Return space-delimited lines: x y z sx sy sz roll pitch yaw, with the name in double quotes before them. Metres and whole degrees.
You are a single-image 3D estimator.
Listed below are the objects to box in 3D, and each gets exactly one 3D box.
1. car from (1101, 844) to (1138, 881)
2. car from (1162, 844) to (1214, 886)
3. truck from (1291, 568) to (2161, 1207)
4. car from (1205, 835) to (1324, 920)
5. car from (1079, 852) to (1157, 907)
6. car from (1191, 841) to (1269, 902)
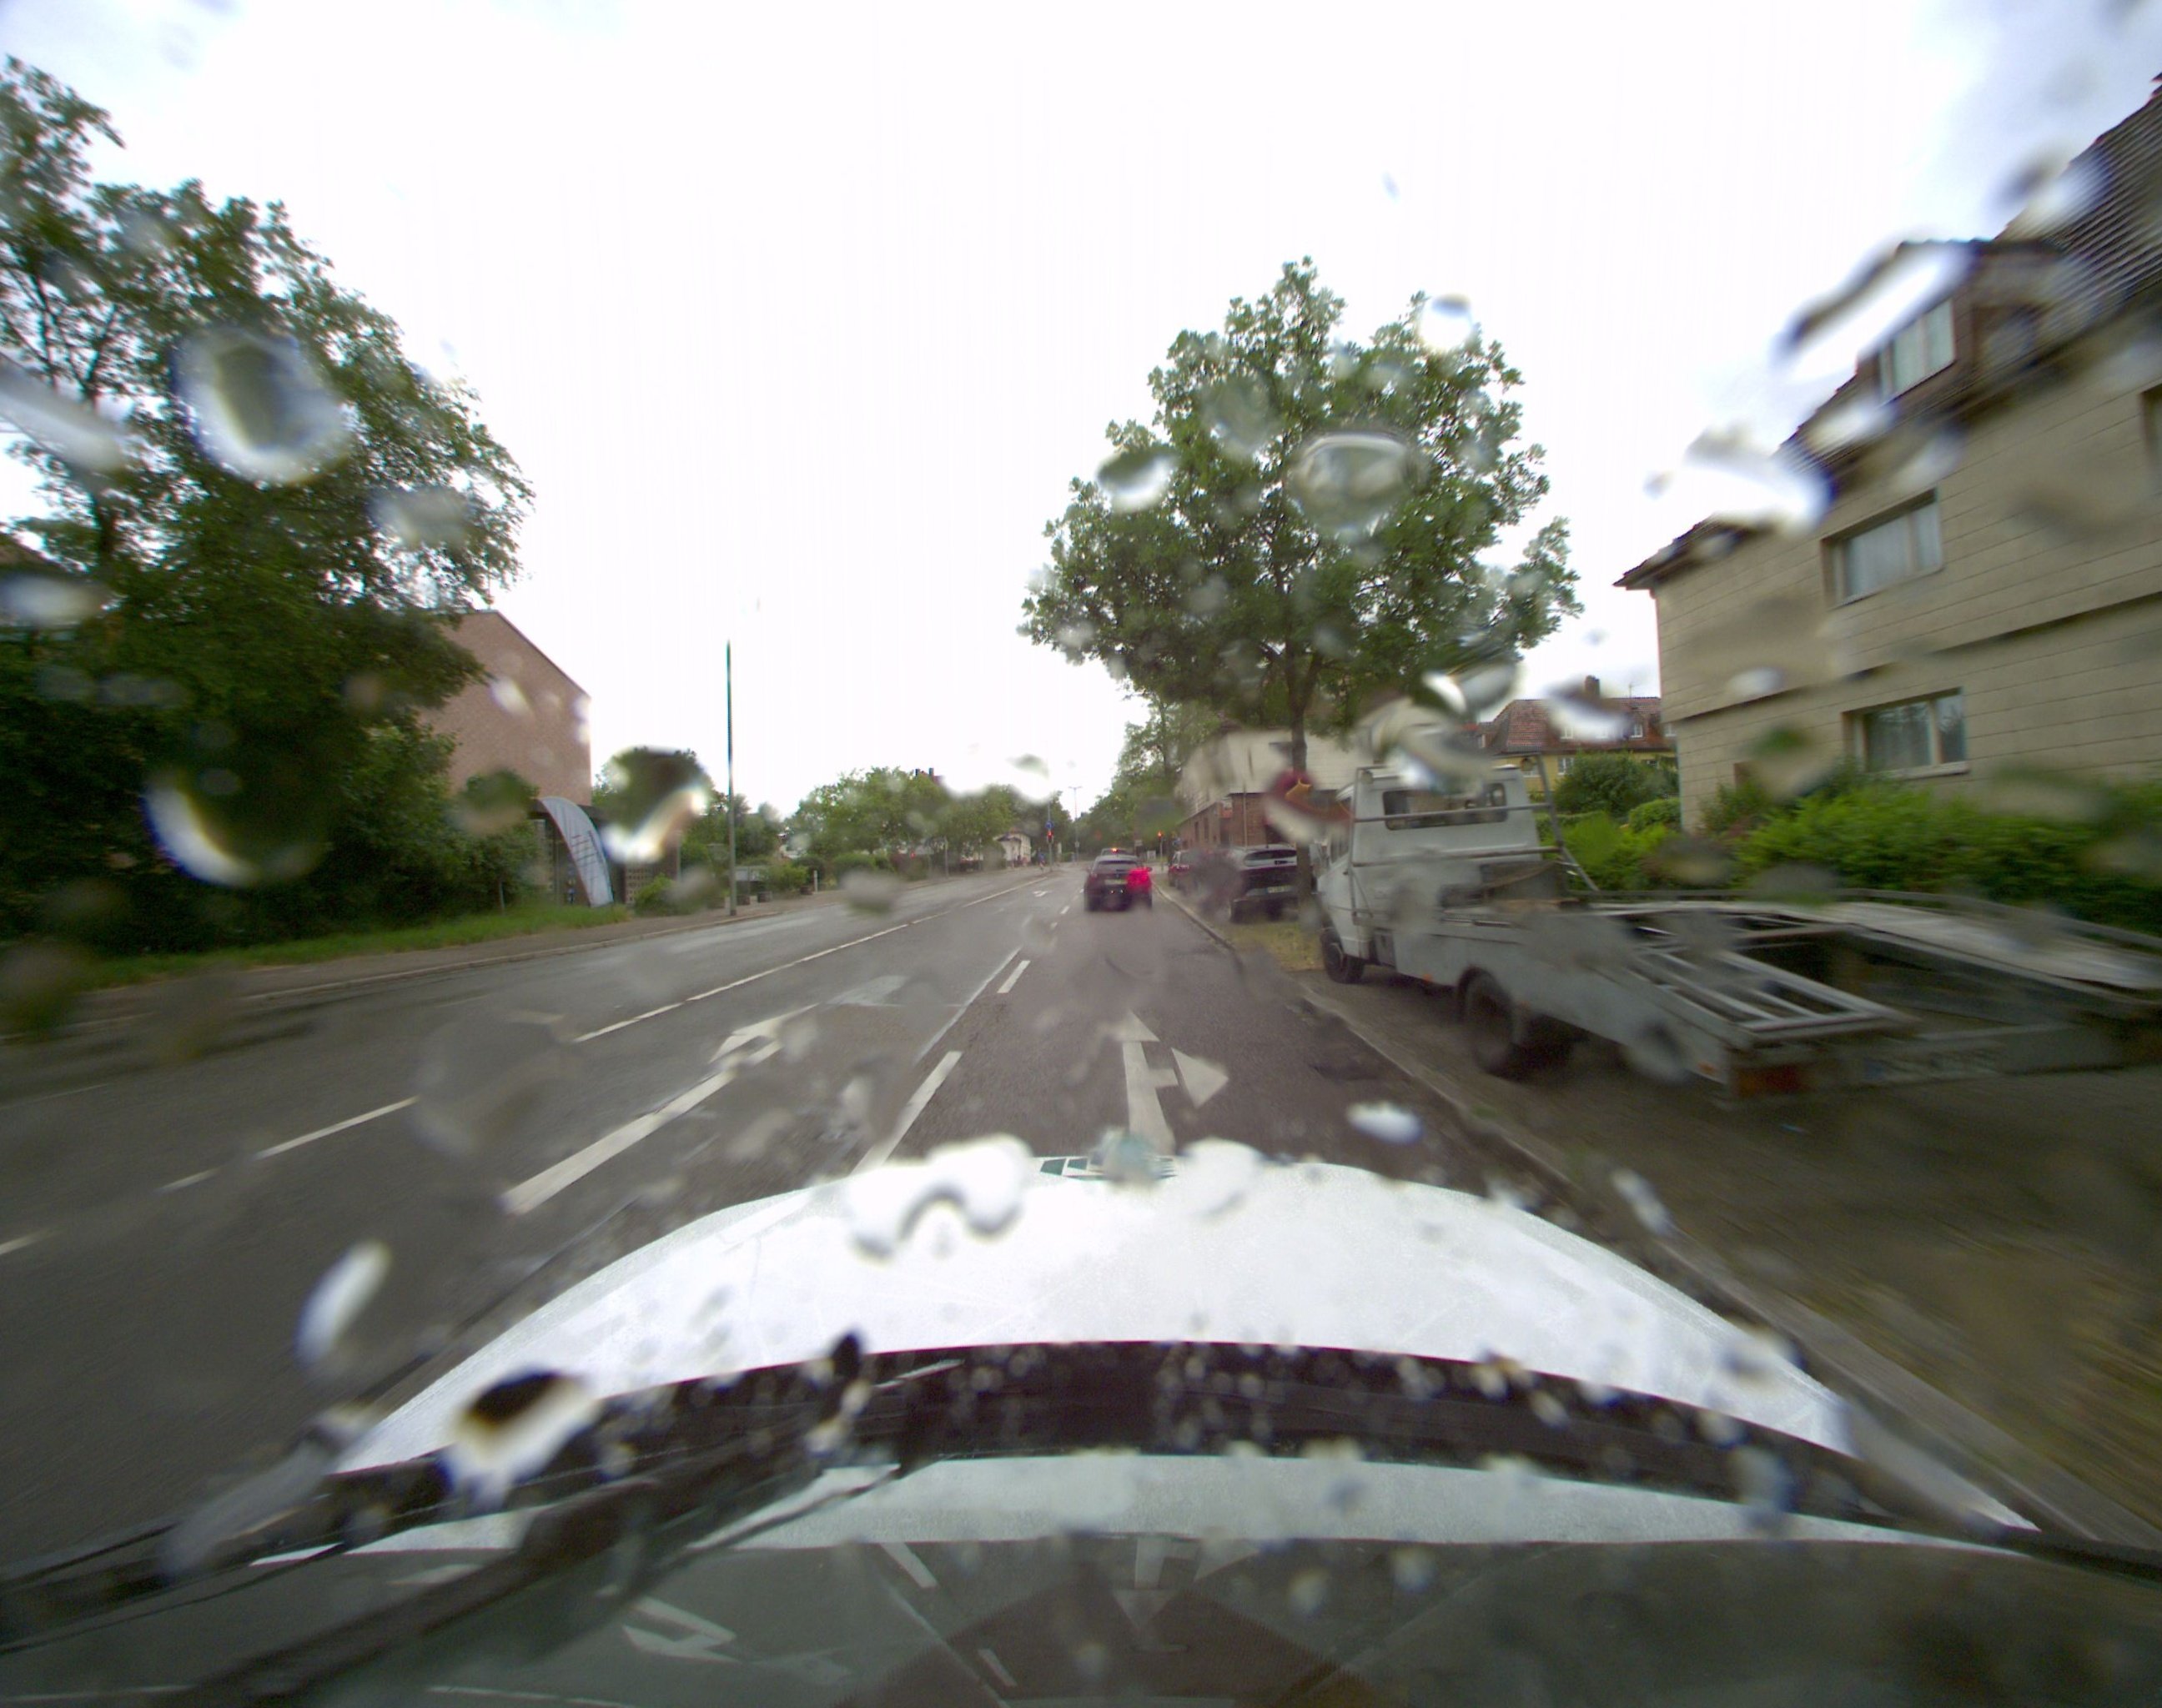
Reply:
"car" 1.961 0.407 42.762 1.777 1.817 4.001 -2 0 1
"car" 4.313 0.400 33.197 1.578 1.490 3.628 -5 1 1
"truck" 3.519 0.090 6.255 2.073 2.221 6.503 -5 0 1
"car" 3.840 0.445 17.752 1.707 1.498 4.186 -5 0 2
"car" 1.026 0.683 24.022 2.057 1.446 4.483 -1 0 1
"car" 4.216 0.447 23.545 1.598 1.472 3.859 -5 0 2
